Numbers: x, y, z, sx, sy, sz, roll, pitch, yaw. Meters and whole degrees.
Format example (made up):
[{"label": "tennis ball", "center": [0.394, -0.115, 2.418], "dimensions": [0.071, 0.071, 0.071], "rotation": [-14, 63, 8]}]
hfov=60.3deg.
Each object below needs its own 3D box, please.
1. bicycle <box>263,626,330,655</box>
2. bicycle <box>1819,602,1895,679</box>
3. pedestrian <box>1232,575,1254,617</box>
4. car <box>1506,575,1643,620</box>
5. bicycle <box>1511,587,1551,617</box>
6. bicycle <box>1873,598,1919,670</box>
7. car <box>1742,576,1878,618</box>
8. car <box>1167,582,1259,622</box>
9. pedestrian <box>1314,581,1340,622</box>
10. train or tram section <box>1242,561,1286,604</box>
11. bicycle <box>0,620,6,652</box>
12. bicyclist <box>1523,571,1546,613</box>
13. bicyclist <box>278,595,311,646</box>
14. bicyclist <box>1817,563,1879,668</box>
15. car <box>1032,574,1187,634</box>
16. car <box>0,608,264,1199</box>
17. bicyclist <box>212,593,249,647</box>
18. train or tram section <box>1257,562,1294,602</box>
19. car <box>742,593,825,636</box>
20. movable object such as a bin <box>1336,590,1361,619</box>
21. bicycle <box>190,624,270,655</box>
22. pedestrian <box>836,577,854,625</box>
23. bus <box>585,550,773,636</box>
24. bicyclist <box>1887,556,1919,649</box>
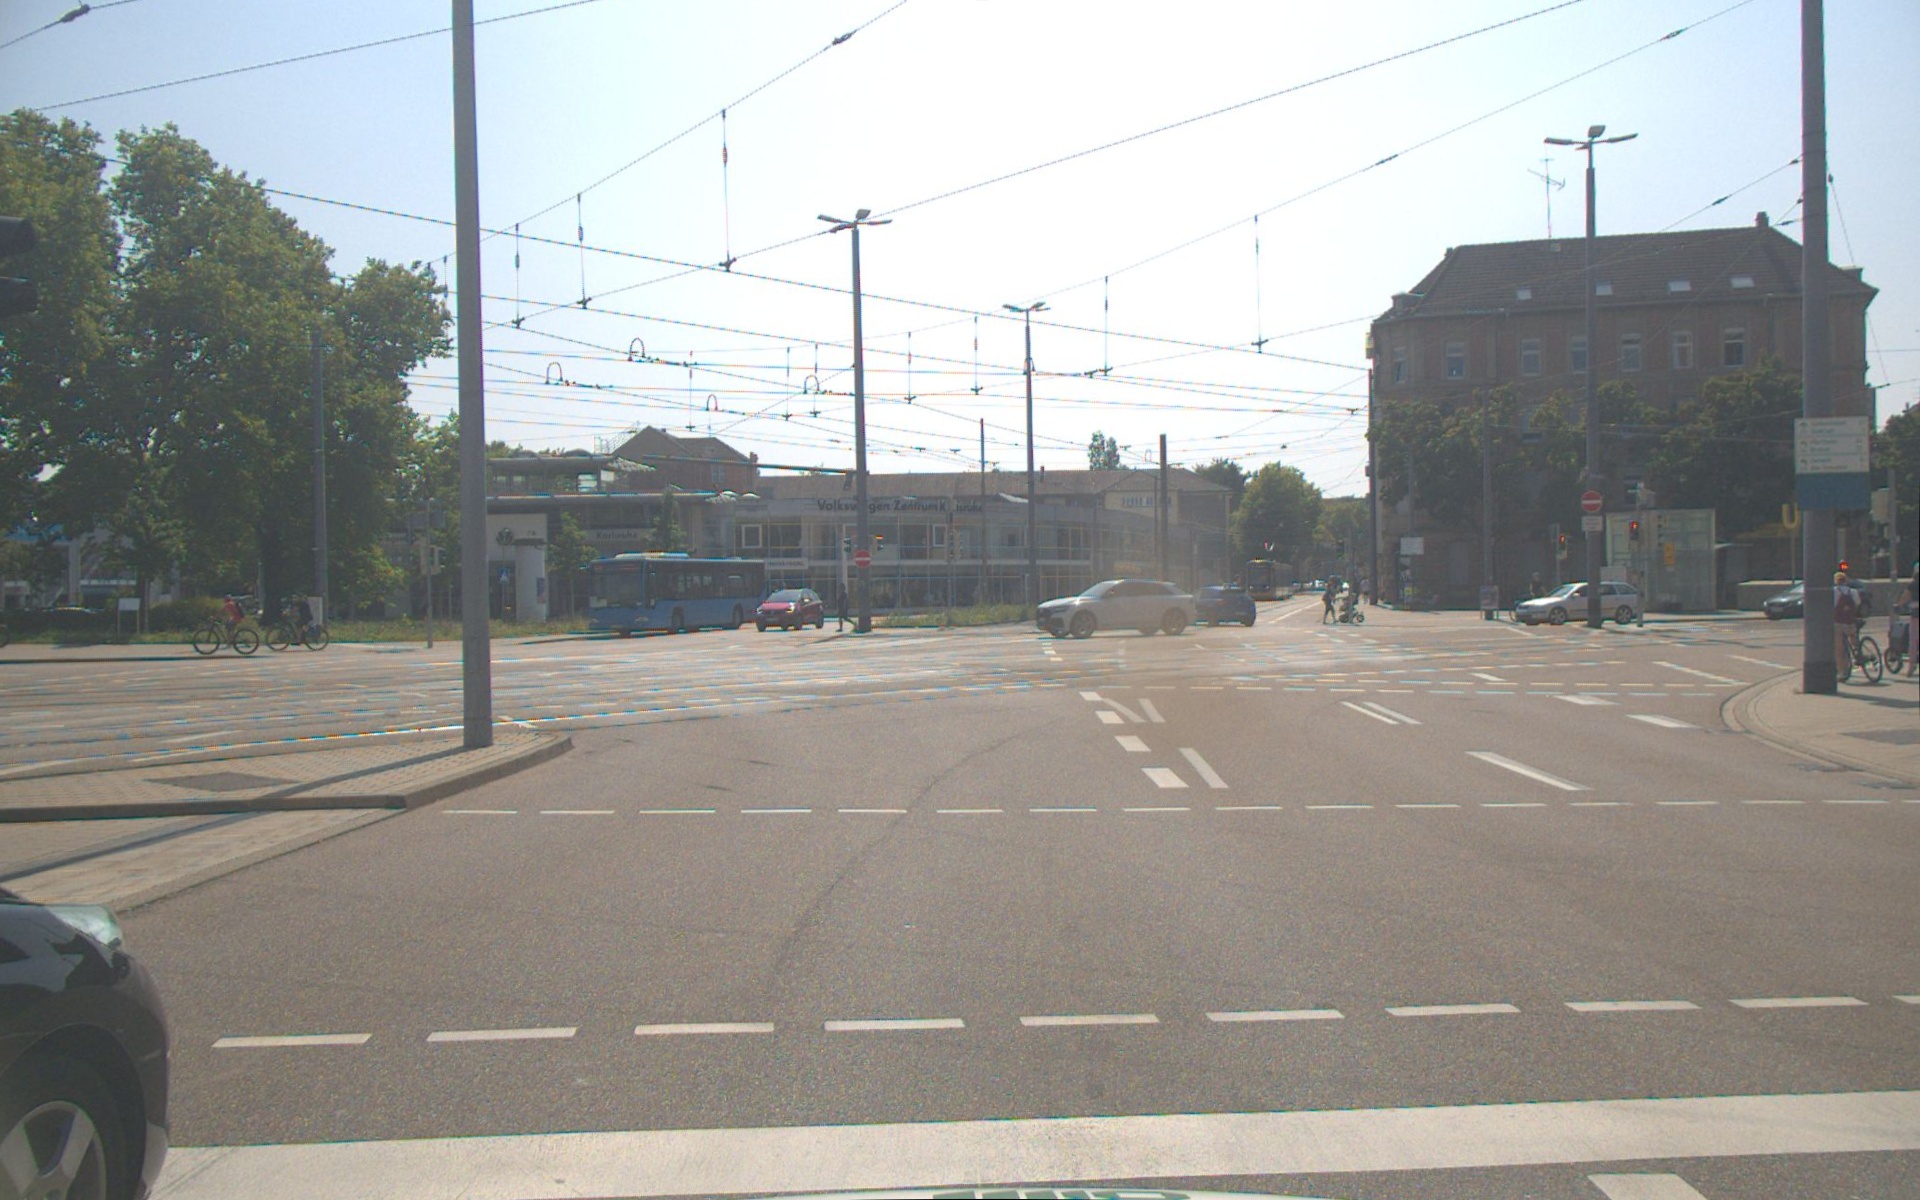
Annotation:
[{"label": "bicycle", "center": [-19.947, 1.208, 49.772], "dimensions": [1.828, 0.816, 0.604], "rotation": [-1, 0, -19]}, {"label": "bicycle", "center": [13.298, 0.585, 24.554], "dimensions": [0.525, 1.073, 1.655], "rotation": [-1, 0, 11]}, {"label": "pedestrian", "center": [11.074, -0.163, 64.706], "dimensions": [0.686, 1.631, 0.572], "rotation": [-1, 0, -8]}, {"label": "car", "center": [21.034, -0.099, 56.681], "dimensions": [4.099, 1.440, 1.772], "rotation": [-1, 0, -10]}, {"label": "bicycle", "center": [21.162, 0.072, 61.355], "dimensions": [0.462, 1.073, 1.643], "rotation": [-1, 0, -21]}, {"label": "bicycle", "center": [14.917, 0.522, 25.987], "dimensions": [0.525, 1.073, 1.655], "rotation": [-1, 0, 11]}, {"label": "car", "center": [31.277, -0.133, 60.875], "dimensions": [4.684, 1.440, 1.765], "rotation": [-1, 0, -21]}, {"label": "car", "center": [9.309, 0.077, 61.087], "dimensions": [1.569, 1.418, 3.973], "rotation": [-1, 0, -22]}, {"label": "pedestrian", "center": [14.313, 0.042, 64.516], "dimensions": [0.834, 1.572, 0.528], "rotation": [-1, 0, -9]}, {"label": "train or tram section", "center": [26.846, -1.554, 145.681], "dimensions": [2.533, 3.578, 10.905], "rotation": [-1, 0, 17]}, {"label": "bicycle", "center": [-29.592, 1.107, 49.428], "dimensions": [1.783, 0.958, 0.414], "rotation": [-1, 0, -14]}, {"label": "bicyclist", "center": [21.236, -0.294, 61.181], "dimensions": [0.604, 1.555, 0.517], "rotation": [-1, 0, -25]}, {"label": "bicyclist", "center": [-20.016, 0.607, 49.763], "dimensions": [0.857, 1.501, 0.543], "rotation": [-1, 0, -19]}, {"label": "bicyclist", "center": [13.315, 0.229, 24.807], "dimensions": [0.614, 1.544, 0.712], "rotation": [-1, 0, 11]}, {"label": "car", "center": [4.439, 0.103, 49.176], "dimensions": [4.257, 1.646, 1.745], "rotation": [-1, 0, -20]}, {"label": "car", "center": [-2.556, 0.730, 1.910], "dimensions": [1.728, 1.412, 3.783], "rotation": [1, 0, 3]}, {"label": "bicyclist", "center": [-20.782, 0.561, 47.109], "dimensions": [0.856, 1.509, 0.495], "rotation": [-1, 0, -14]}, {"label": "train or tram section", "center": [29.739, -1.681, 155.569], "dimensions": [2.533, 3.578, 9.665], "rotation": [-1, 0, 16]}, {"label": "car", "center": [-6.777, 0.534, 63.922], "dimensions": [1.713, 1.579, 4.002], "rotation": [-1, 0, 17]}, {"label": "movable object such as a bin", "center": [15.145, 0.178, 64.477], "dimensions": [0.798, 1.096, 0.510], "rotation": [-1, 0, -11]}, {"label": "bicycle", "center": [-20.775, 1.122, 47.119], "dimensions": [2.013, 0.816, 0.478], "rotation": [-1, 0, -14]}, {"label": "pedestrian", "center": [-4.108, 0.037, 59.004], "dimensions": [0.544, 1.713, 0.451], "rotation": [-1, 0, -19]}, {"label": "bus", "center": [-11.090, -0.321, 67.076], "dimensions": [2.508, 3.136, 12.031], "rotation": [-1, 0, 16]}, {"label": "bicyclist", "center": [14.823, 0.039, 25.640], "dimensions": [0.519, 1.417, 0.894], "rotation": [-1, 0, 11]}]
